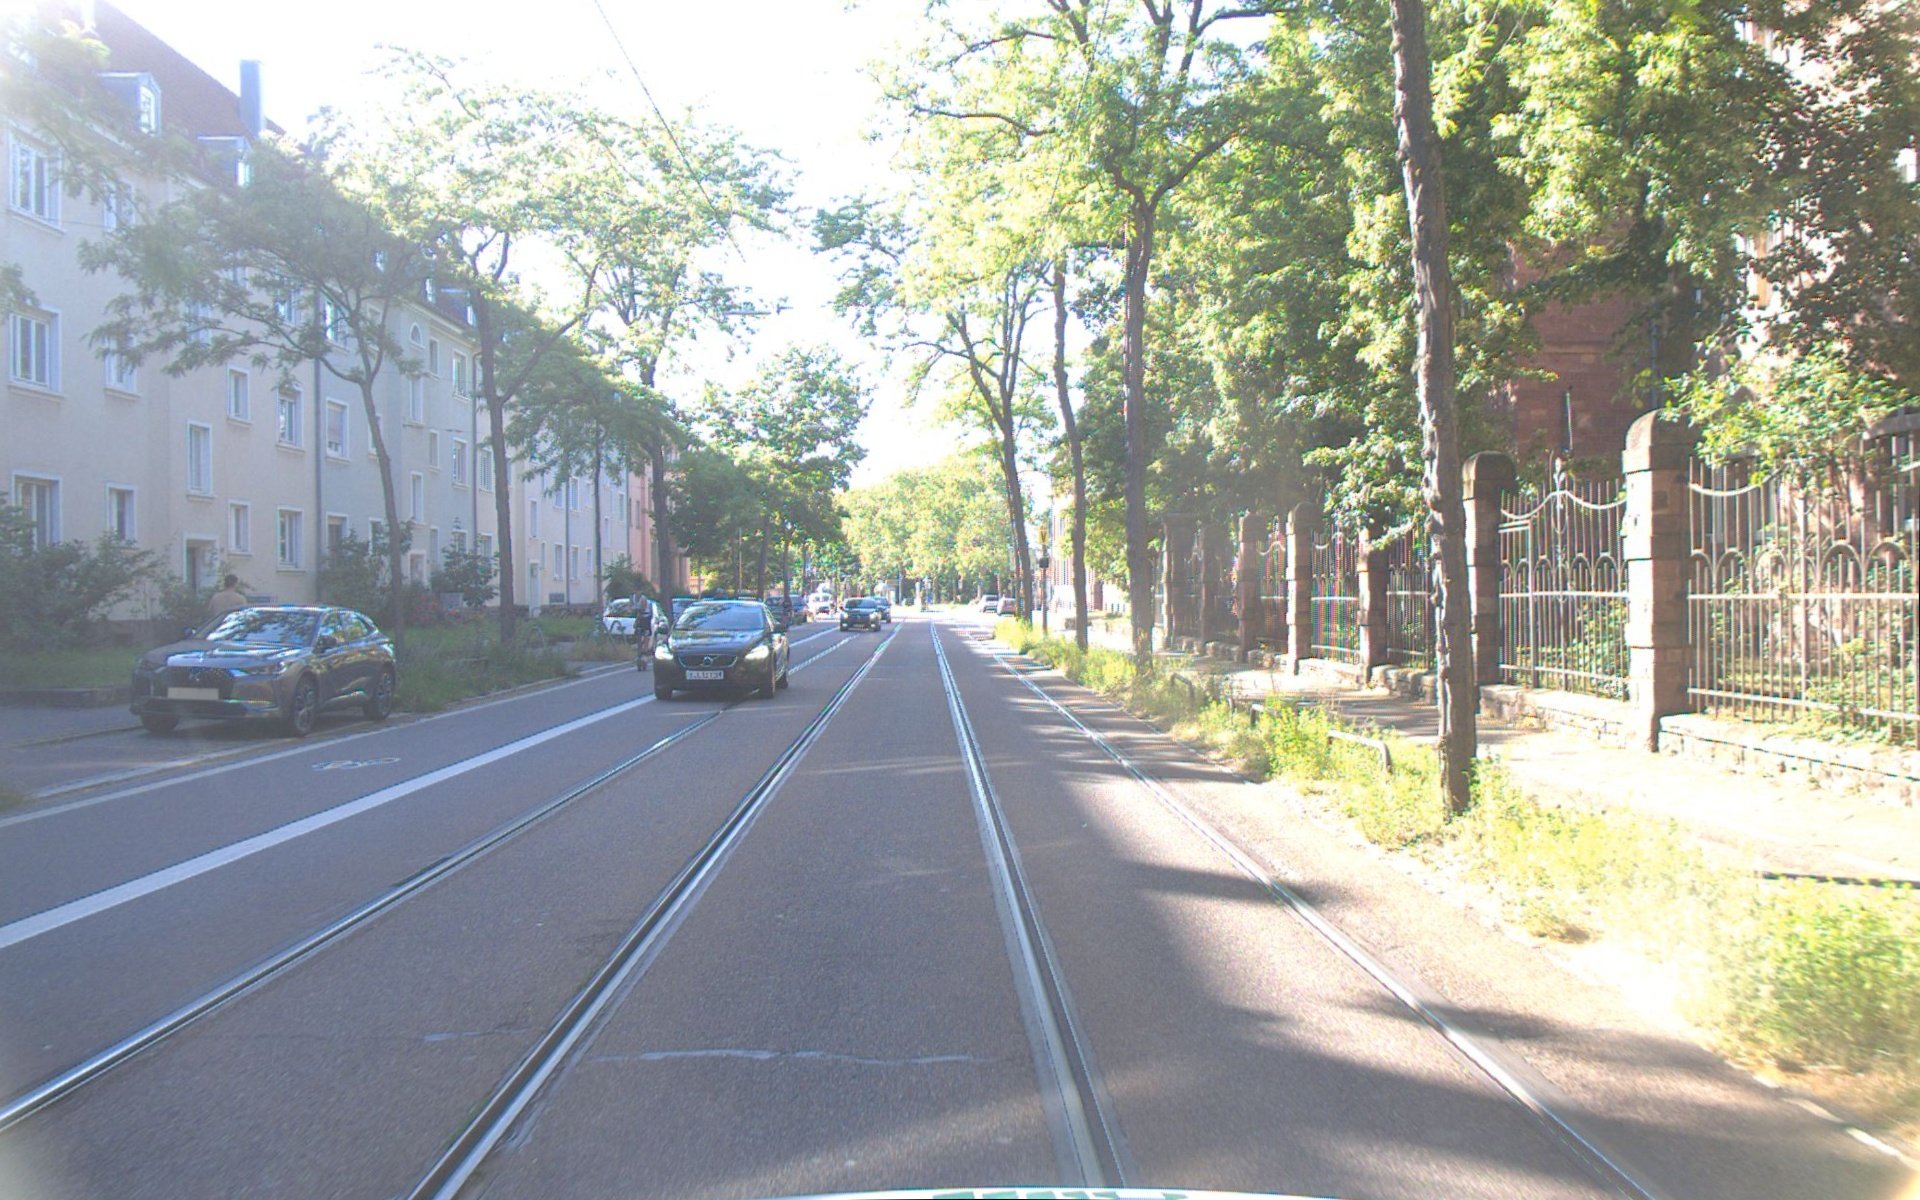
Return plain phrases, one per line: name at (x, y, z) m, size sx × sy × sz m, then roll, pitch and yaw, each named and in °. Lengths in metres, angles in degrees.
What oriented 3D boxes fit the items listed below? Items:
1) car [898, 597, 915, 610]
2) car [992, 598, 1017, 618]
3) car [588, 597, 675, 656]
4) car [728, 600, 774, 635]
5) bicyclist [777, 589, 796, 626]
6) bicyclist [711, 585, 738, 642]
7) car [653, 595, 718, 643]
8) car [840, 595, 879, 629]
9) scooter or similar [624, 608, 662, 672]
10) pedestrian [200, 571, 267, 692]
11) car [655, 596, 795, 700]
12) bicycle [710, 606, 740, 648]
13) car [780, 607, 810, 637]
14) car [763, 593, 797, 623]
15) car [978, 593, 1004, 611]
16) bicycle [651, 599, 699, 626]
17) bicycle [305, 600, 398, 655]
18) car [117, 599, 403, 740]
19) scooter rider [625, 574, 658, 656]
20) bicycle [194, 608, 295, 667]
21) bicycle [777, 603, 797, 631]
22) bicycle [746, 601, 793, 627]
car at (-6.892, 0.502, 212.605) m, size 1.905 × 1.638 × 3.994 m, roll 0°, pitch 0°, yaw -7°
car at (3.760, 0.678, 139.144) m, size 1.802 × 1.684 × 3.577 m, roll 0°, pitch 0°, yaw -3°
car at (-9.175, 0.700, 46.425) m, size 1.668 × 1.511 × 4.078 m, roll 2°, pitch 0°, yaw -1°
car at (-9.697, 0.804, 76.989) m, size 1.710 × 1.516 × 4.321 m, roll 2°, pitch 0°, yaw -2°
bicyclist at (-7.955, 0.350, 75.901) m, size 0.695 × 1.635 × 0.865 m, roll -3°, pitch 0°, yaw -2°
bicyclist at (-7.053, 0.396, 49.485) m, size 0.613 × 1.667 × 0.940 m, roll -3°, pitch 0°, yaw -1°
car at (-9.164, 0.606, 55.453) m, size 1.653 × 1.511 × 3.758 m, roll 2°, pitch 0°, yaw -2°
car at (-4.435, 0.506, 73.342) m, size 1.665 × 1.464 × 4.069 m, roll 0°, pitch 0°, yaw -3°
scooter or similar at (-6.863, 0.848, 35.850) m, size 0.510 × 1.320 × 1.377 m, roll -4°, pitch 0°, yaw -1°
pedestrian at (-11.296, 0.481, 25.743) m, size 0.677 × 1.833 × 0.813 m, roll -1°, pitch 0°, yaw -2°
car at (-3.577, 0.675, 25.819) m, size 1.722 × 1.464 × 4.521 m, roll 0°, pitch 0°, yaw -3°
bicycle at (-7.039, 0.799, 49.528) m, size 0.614 × 1.198 × 1.912 m, roll -3°, pitch 0°, yaw -1°
car at (-10.121, 1.325, 101.374) m, size 1.712 × 1.689 × 4.385 m, roll 2°, pitch 0°, yaw -6°
car at (-10.117, 0.432, 93.179) m, size 1.711 × 1.597 × 4.066 m, roll 2°, pitch 0°, yaw -4°
car at (2.872, 0.201, 154.900) m, size 1.905 × 1.638 × 3.994 m, roll 0°, pitch 0°, yaw -7°
bicycle at (-13.965, 0.617, 80.997) m, size 2.236 × 1.219 × 0.560 m, roll 2°, pitch 1°, yaw 5°
bicycle at (-13.768, 0.621, 37.430) m, size 1.869 × 1.198 × 0.521 m, roll 1°, pitch 0°, yaw -4°
car at (-8.387, 0.763, 20.251) m, size 1.780 × 1.511 × 4.205 m, roll 1°, pitch 0°, yaw -1°
scooter rider at (-6.895, 0.322, 35.840) m, size 0.486 × 1.729 × 0.786 m, roll -3°, pitch 0°, yaw -1°
bicycle at (-15.105, 0.792, 34.938) m, size 1.869 × 1.198 × 0.521 m, roll 1°, pitch 0°, yaw -4°
bicycle at (-7.932, 0.766, 75.947) m, size 0.680 × 1.198 × 1.912 m, roll -3°, pitch 0°, yaw -1°
bicycle at (-9.607, 0.727, 83.534) m, size 2.236 × 1.219 × 0.560 m, roll 2°, pitch 1°, yaw 5°
